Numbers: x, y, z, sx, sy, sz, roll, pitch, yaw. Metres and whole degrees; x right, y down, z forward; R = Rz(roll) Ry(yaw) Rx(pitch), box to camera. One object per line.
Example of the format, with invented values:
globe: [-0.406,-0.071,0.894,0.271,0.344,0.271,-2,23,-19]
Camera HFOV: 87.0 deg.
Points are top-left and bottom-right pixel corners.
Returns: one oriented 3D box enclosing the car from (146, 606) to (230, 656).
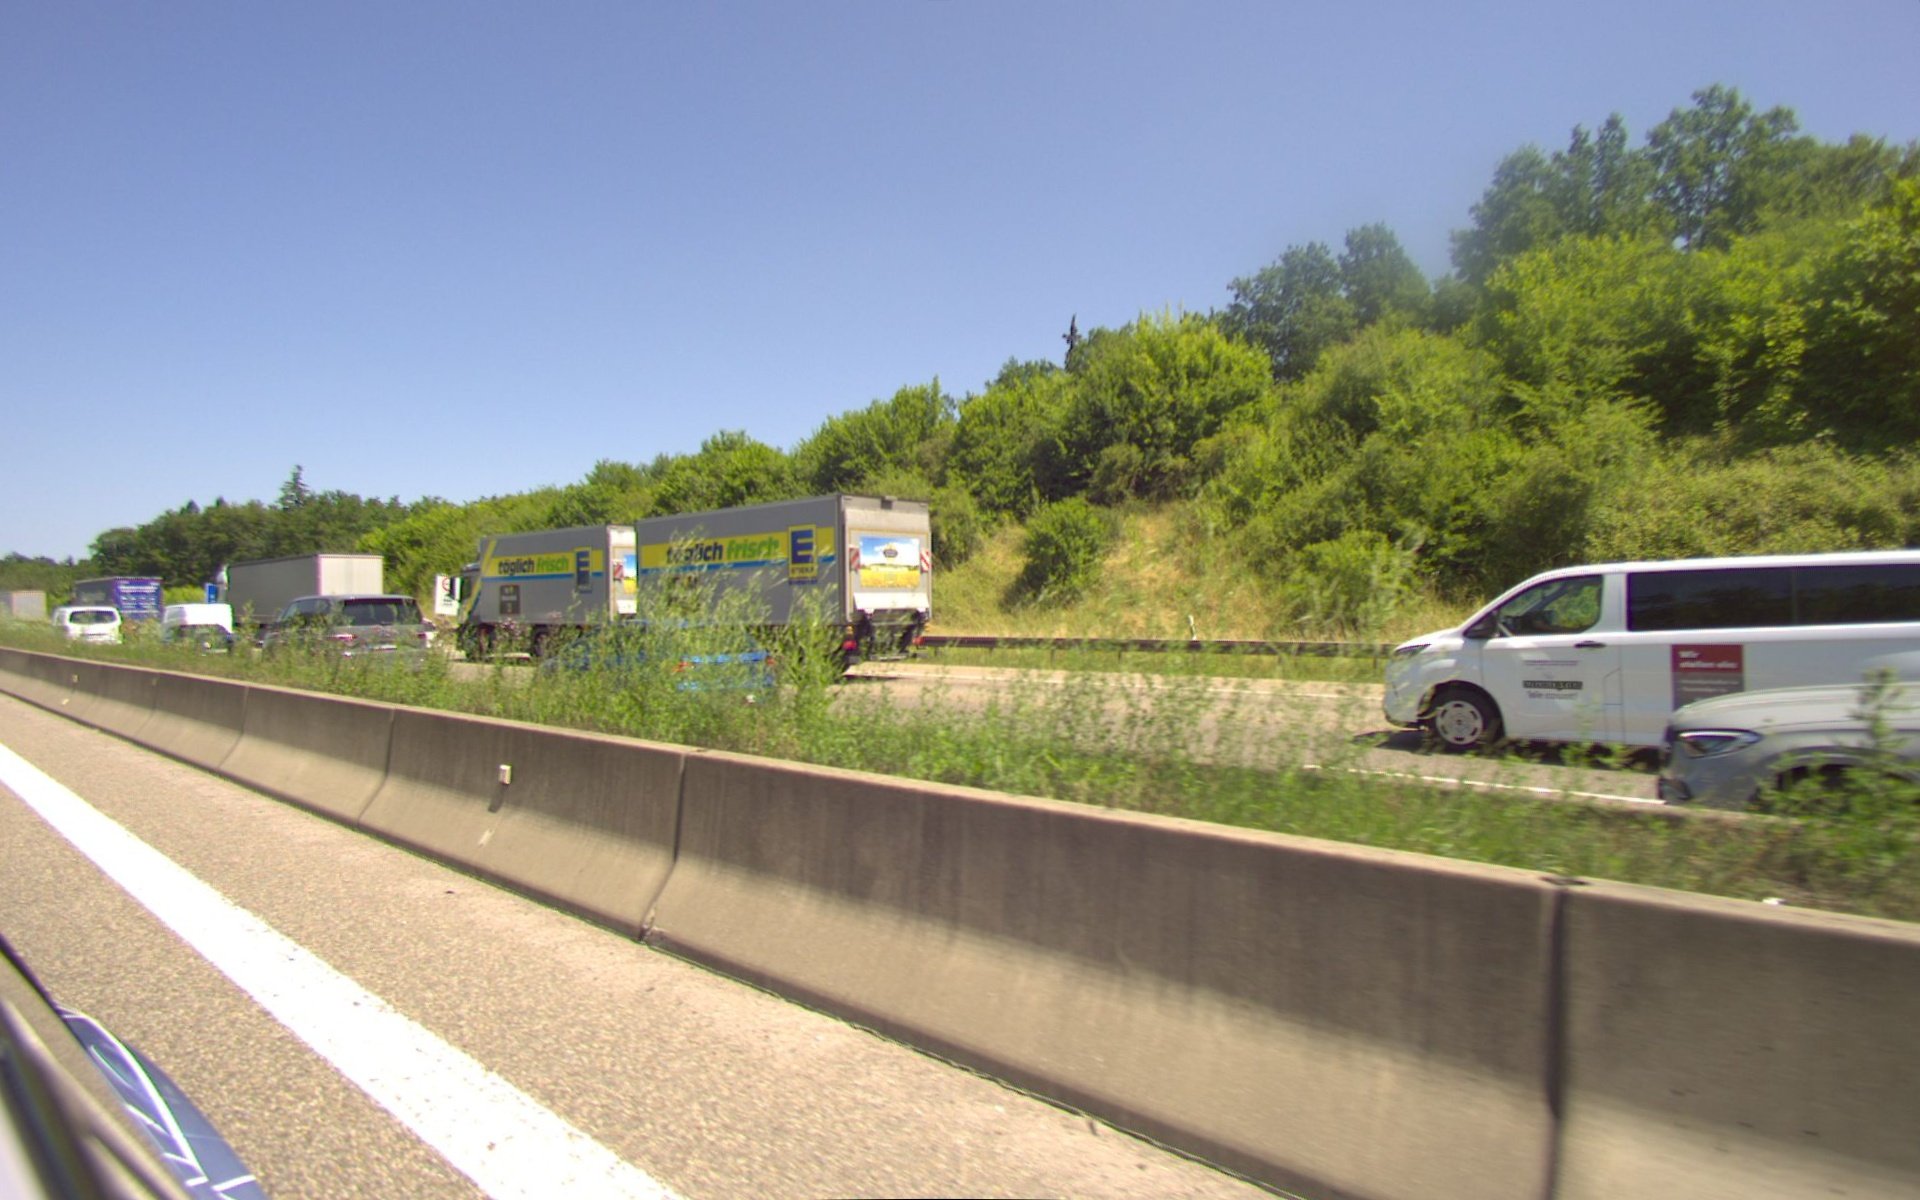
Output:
car: [-33.453,1.293,43.811,4.754,2.039,1.872,-1,0,40]

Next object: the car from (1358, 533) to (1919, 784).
car: [7.170,0.451,9.683,5.887,1.955,2.160,0,0,44]

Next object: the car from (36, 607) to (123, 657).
car: [-35.445,1.246,40.675,5.018,1.858,1.960,-1,0,41]

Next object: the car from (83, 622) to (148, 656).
car: [-45.472,2.070,54.461,4.754,1.691,1.872,-1,0,40]

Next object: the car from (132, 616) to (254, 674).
car: [-22.178,1.223,29.186,4.656,1.491,1.808,-1,0,40]

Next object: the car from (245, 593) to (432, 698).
car: [-12.961,0.856,20.975,4.968,1.930,1.808,-1,0,40]

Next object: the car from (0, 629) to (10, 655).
car: [-55.293,2.401,57.174,3.996,1.387,1.872,-1,0,40]

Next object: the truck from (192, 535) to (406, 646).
truck: [-32.430,-0.358,48.816,19.445,4.490,3.658,0,0,42]

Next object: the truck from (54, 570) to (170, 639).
truck: [-61.842,0.346,73.476,19.445,4.490,3.658,0,0,42]

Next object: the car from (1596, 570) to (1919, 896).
car: [6.051,0.588,4.390,5.395,1.489,1.808,-1,0,40]

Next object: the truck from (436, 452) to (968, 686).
truck: [-8.291,-0.561,27.302,19.445,4.490,3.658,0,0,42]

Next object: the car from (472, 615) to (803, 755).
car: [-4.415,0.963,13.400,4.968,1.489,1.808,-1,0,40]

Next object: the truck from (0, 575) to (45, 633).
truck: [-99.229,0.439,105.473,19.445,5.543,3.658,0,0,42]
